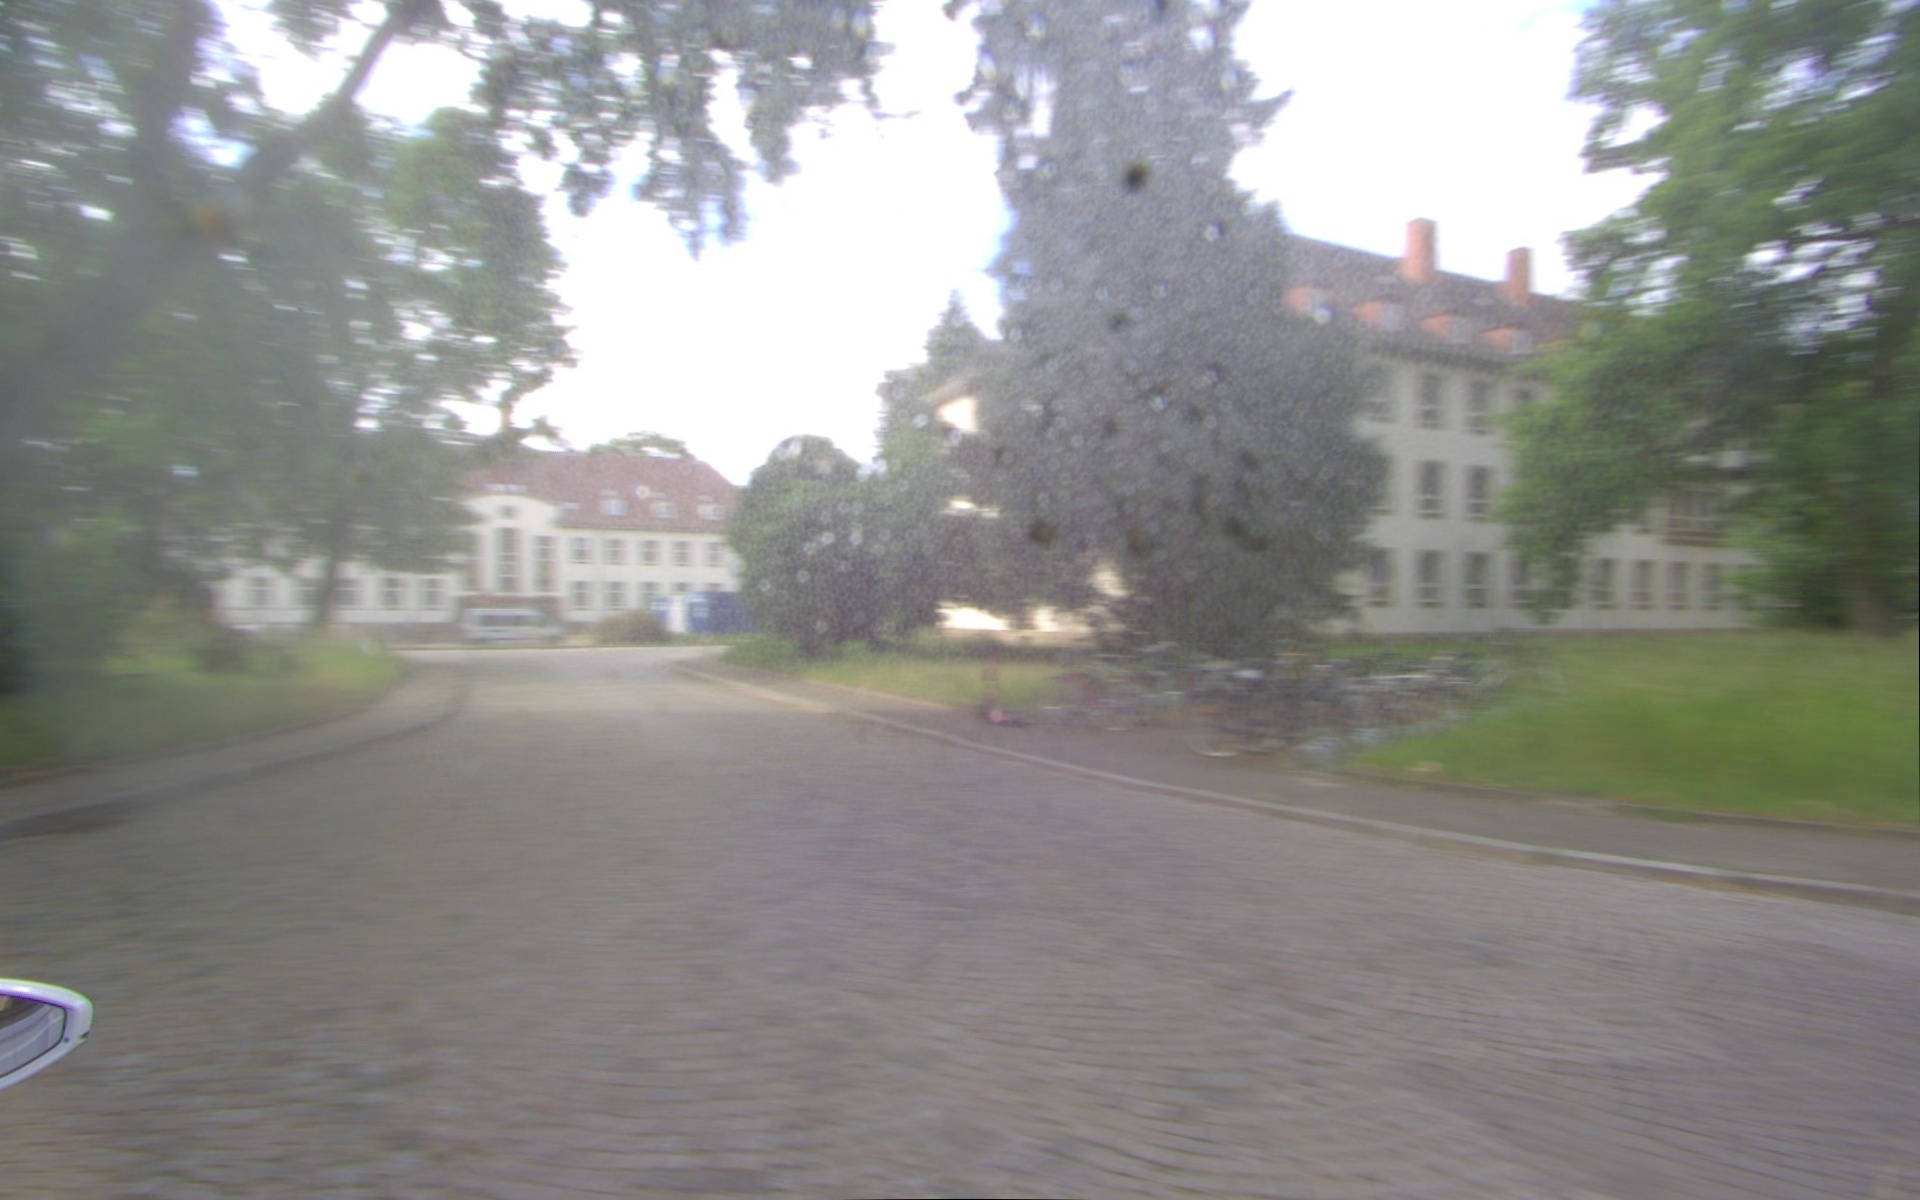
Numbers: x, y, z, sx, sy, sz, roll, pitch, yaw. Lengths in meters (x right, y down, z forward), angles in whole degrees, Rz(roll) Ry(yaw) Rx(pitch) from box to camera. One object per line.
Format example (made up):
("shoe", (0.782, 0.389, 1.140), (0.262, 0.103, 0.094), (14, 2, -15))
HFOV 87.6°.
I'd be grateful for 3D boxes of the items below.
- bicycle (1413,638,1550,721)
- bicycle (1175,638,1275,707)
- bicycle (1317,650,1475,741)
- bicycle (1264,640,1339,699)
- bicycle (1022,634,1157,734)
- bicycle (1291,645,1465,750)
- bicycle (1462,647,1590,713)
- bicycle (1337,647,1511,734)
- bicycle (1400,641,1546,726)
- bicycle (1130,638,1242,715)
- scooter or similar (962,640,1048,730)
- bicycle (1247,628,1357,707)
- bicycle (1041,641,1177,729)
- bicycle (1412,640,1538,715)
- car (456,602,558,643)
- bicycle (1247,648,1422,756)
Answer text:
("bicycle", (7.631, 1.137, 14.716), (0.536, 1.131, 1.685), (-3, 1, -44))
("bicycle", (4.379, 1.186, 16.593), (1.496, 1.050, 0.542), (0, 2, 35))
("bicycle", (5.417, 1.159, 12.513), (0.626, 1.015, 1.680), (-3, 0, -44))
("bicycle", (6.270, 1.265, 18.395), (0.430, 1.041, 1.251), (3, -4, -44))
("bicycle", (1.785, 1.133, 13.995), (0.637, 1.239, 1.882), (-3, 2, -44))
("bicycle", (4.968, 1.125, 11.988), (0.695, 1.118, 1.782), (-3, 0, -44))
("bicycle", (8.593, 1.196, 15.249), (0.521, 0.923, 1.605), (-3, 0, -44))
("bicycle", (6.033, 1.143, 13.094), (0.679, 1.018, 1.941), (-3, 0, -44))
("bicycle", (7.286, 1.156, 14.292), (0.536, 1.120, 1.759), (-3, 1, -44))
("bicycle", (3.477, 1.162, 15.465), (1.607, 1.088, 0.536), (0, 2, 35))
("scooter or similar", (0.639, 1.214, 14.724), (0.671, 1.210, 1.548), (-1, 0, -22))
("bicycle", (5.611, 1.086, 16.477), (1.624, 1.202, 0.570), (0, 2, 39))
("bicycle", (2.141, 1.199, 14.593), (0.637, 1.129, 1.971), (-3, 2, -44))
("bicycle", (7.838, 1.156, 15.284), (0.521, 1.073, 1.605), (-3, 1, -44))
("car", (-27.212, 1.366, 60.232), (5.447, 2.237, 2.116), (2, 2, -26))
("bicycle", (4.317, 1.136, 11.622), (0.695, 1.118, 1.756), (-3, 0, -44))
